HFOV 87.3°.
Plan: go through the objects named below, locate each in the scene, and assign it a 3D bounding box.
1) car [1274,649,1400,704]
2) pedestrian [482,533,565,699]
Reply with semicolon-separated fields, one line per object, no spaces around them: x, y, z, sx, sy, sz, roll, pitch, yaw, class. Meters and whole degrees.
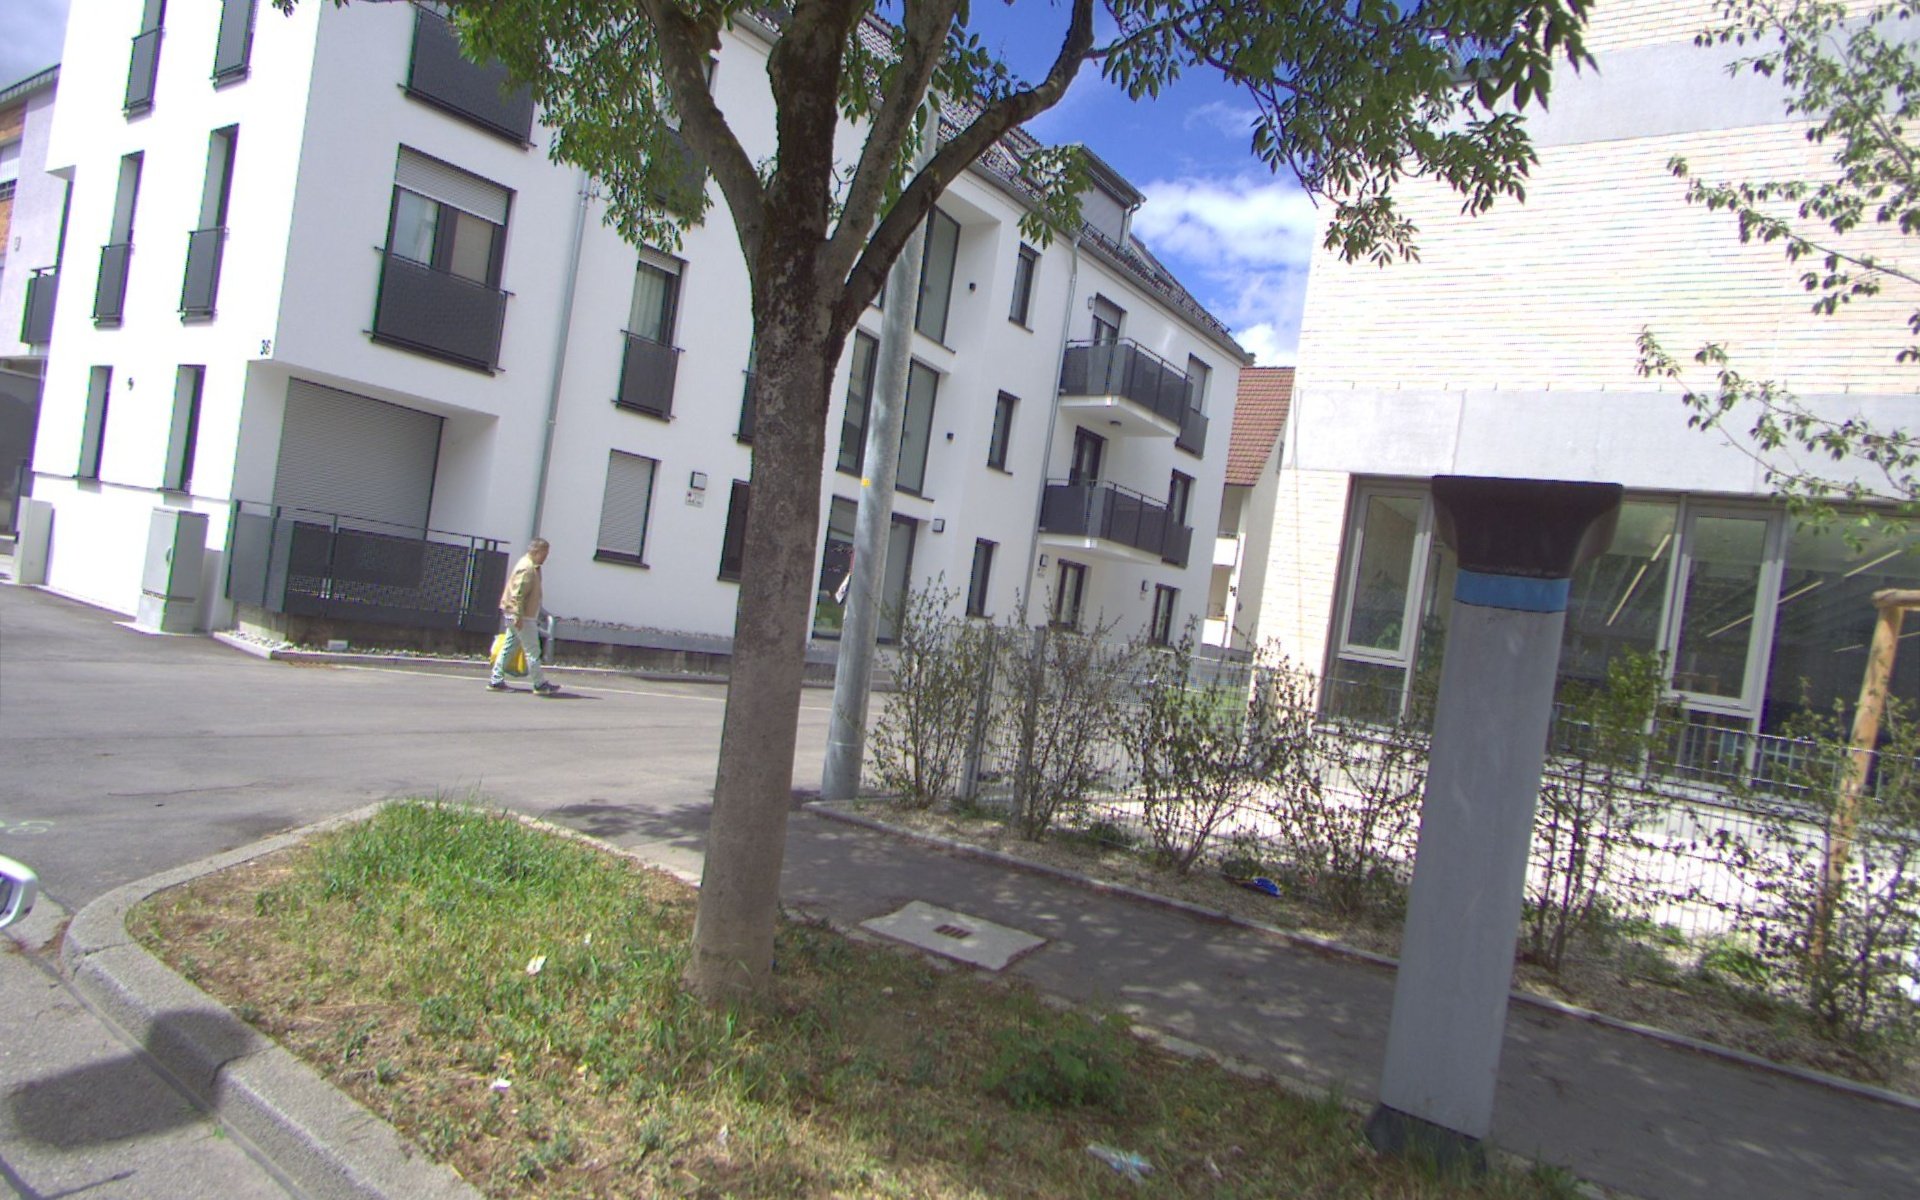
14.076;2.857;37.687;3.943;1.504;1.777;6;-1;40;car
-4.685;0.163;10.781;0.609;1.667;0.734;6;0;-28;pedestrian
